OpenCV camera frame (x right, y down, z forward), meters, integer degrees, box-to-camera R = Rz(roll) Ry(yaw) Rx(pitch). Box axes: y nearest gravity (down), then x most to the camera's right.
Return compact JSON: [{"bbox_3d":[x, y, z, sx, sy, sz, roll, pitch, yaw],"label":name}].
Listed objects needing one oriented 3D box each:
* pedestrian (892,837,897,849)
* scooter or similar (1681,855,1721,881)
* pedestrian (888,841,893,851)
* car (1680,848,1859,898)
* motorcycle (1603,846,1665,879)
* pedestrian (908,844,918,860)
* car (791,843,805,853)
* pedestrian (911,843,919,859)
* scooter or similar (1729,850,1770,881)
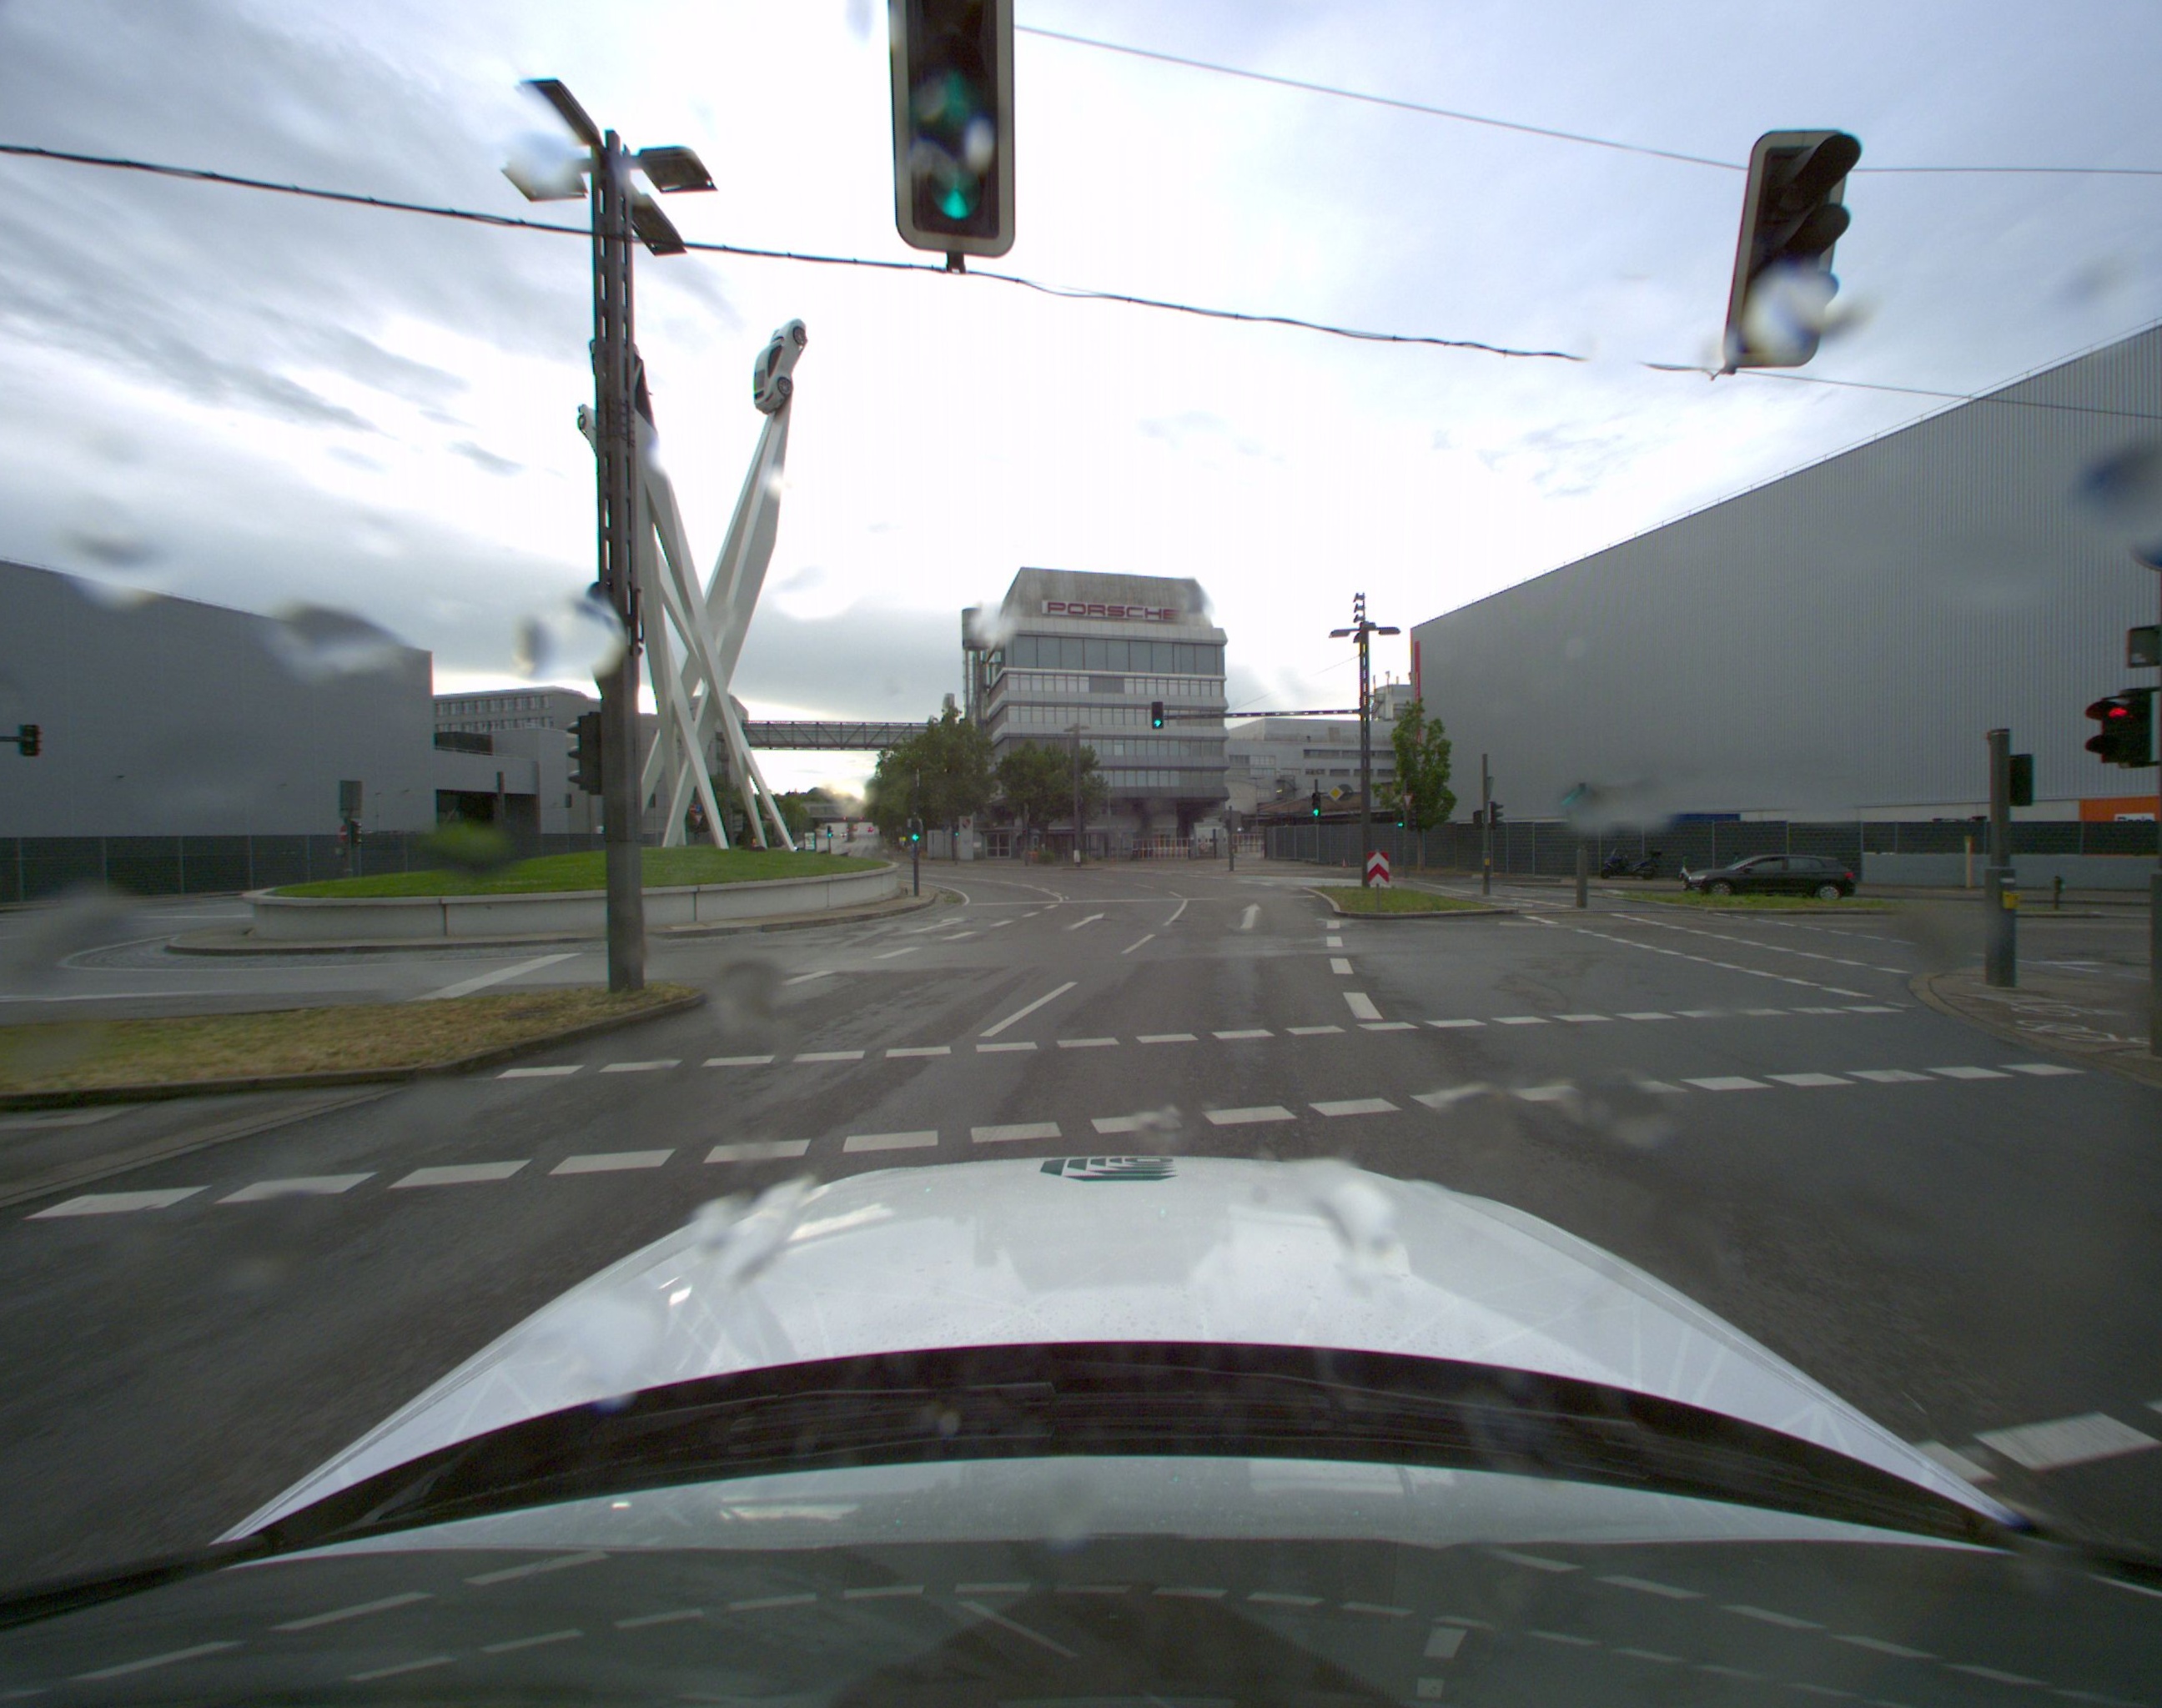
[{"bbox_3d":[-28.830,-1.698,125.634,0.713,1.740,0.756,1,-2,-15],"label":"pedestrian"},{"bbox_3d":[25.499,0.554,33.511,0.387,1.029,1.257,0,1,-33],"label":"scooter or similar"},{"bbox_3d":[-37.749,-1.605,161.299,0.762,2.013,0.693,-1,0,2],"label":"pedestrian"},{"bbox_3d":[21.106,0.532,25.192,3.950,1.425,1.731,0,0,27],"label":"car"},{"bbox_3d":[23.405,0.342,34.482,2.075,1.310,0.659,1,1,24],"label":"motorcycle"},{"bbox_3d":[-15.936,-0.189,77.142,0.831,1.520,0.839,-1,1,-8],"label":"pedestrian"},{"bbox_3d":[-44.530,-1.021,128.272,1.786,1.440,4.374,-1,2,-15],"label":"car"},{"bbox_3d":[-16.096,-0.302,78.887,0.709,1.592,0.838,-1,1,-11],"label":"pedestrian"},{"bbox_3d":[27.059,0.454,32.992,1.254,1.199,0.428,1,1,38],"label":"scooter or similar"}]
